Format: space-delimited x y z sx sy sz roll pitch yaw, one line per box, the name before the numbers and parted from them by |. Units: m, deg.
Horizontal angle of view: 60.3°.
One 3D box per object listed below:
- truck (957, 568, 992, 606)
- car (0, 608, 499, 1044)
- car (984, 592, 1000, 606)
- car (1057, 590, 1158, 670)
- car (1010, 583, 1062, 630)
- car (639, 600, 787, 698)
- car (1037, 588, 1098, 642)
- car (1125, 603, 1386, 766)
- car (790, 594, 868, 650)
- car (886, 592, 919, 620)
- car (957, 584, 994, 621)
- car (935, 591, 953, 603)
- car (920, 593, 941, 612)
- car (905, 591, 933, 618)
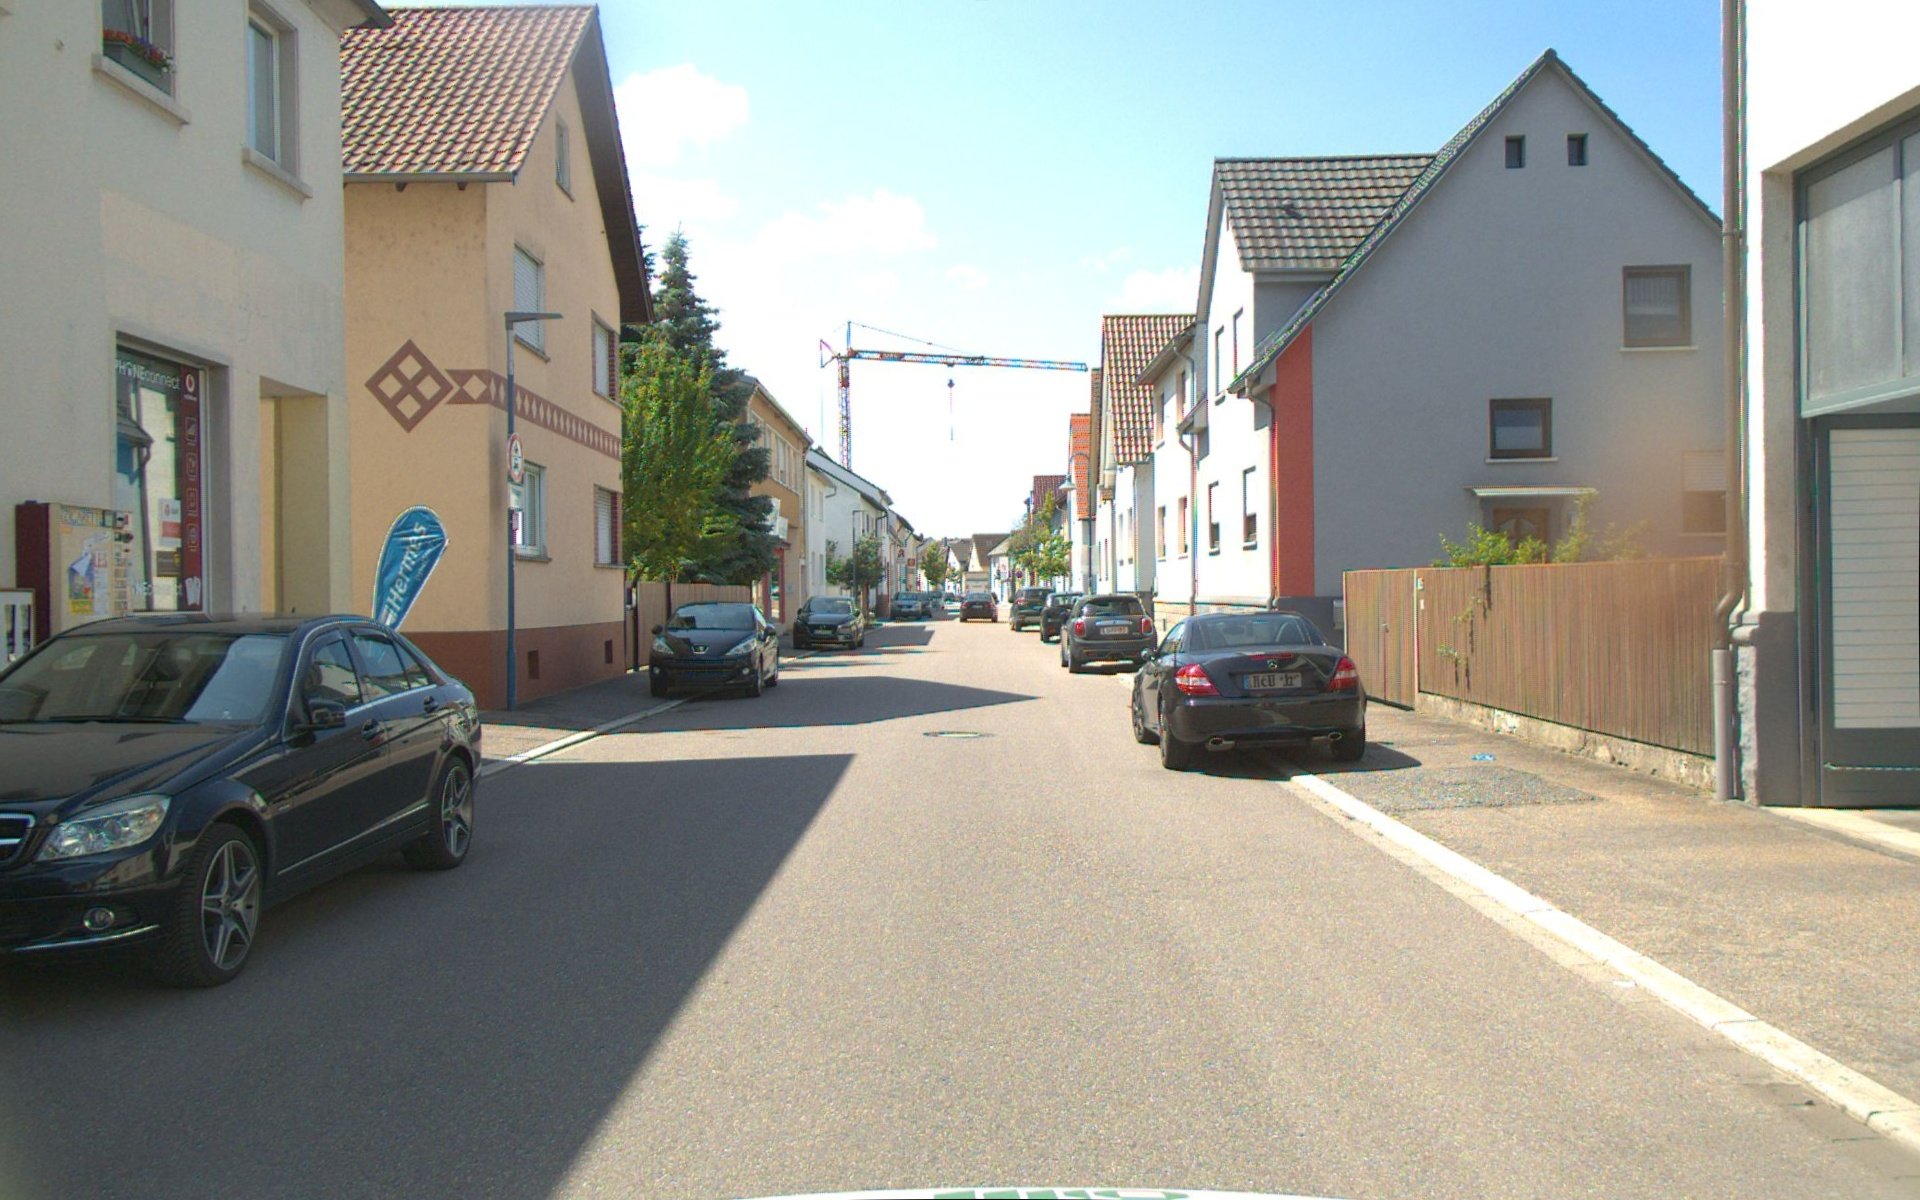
truck | 1.480 -1.326 177.959 3.310 3.933 13.923 -2 0 -1
car | -3.649 0.785 7.823 1.662 1.436 4.390 0 0 1
car | 3.864 -0.132 202.438 1.747 1.591 4.335 -2 0 -2
car | 2.811 0.542 32.232 1.654 1.447 3.657 -1 0 0
car | 2.942 0.242 64.559 1.694 1.747 4.274 -1 0 -2
car | -3.827 0.721 26.209 1.725 1.398 4.066 0 0 0
car | 3.332 0.438 51.762 1.584 1.522 3.972 -3 0 0
car | 2.623 0.695 15.603 1.778 1.298 4.147 0 0 1
car | -3.684 0.585 47.167 1.731 1.485 4.437 -1 0 2
car | -3.339 0.331 96.481 1.722 1.551 4.289 -1 0 0
car | 0.779 0.135 83.185 1.746 1.784 3.999 -2 0 -1
car | -2.579 -0.440 258.966 1.791 1.784 4.211 -2 0 -15
car | -2.539 0.191 142.603 1.687 1.583 4.172 1 0 1
car | -2.559 0.262 103.162 1.619 1.637 4.061 -1 0 0
